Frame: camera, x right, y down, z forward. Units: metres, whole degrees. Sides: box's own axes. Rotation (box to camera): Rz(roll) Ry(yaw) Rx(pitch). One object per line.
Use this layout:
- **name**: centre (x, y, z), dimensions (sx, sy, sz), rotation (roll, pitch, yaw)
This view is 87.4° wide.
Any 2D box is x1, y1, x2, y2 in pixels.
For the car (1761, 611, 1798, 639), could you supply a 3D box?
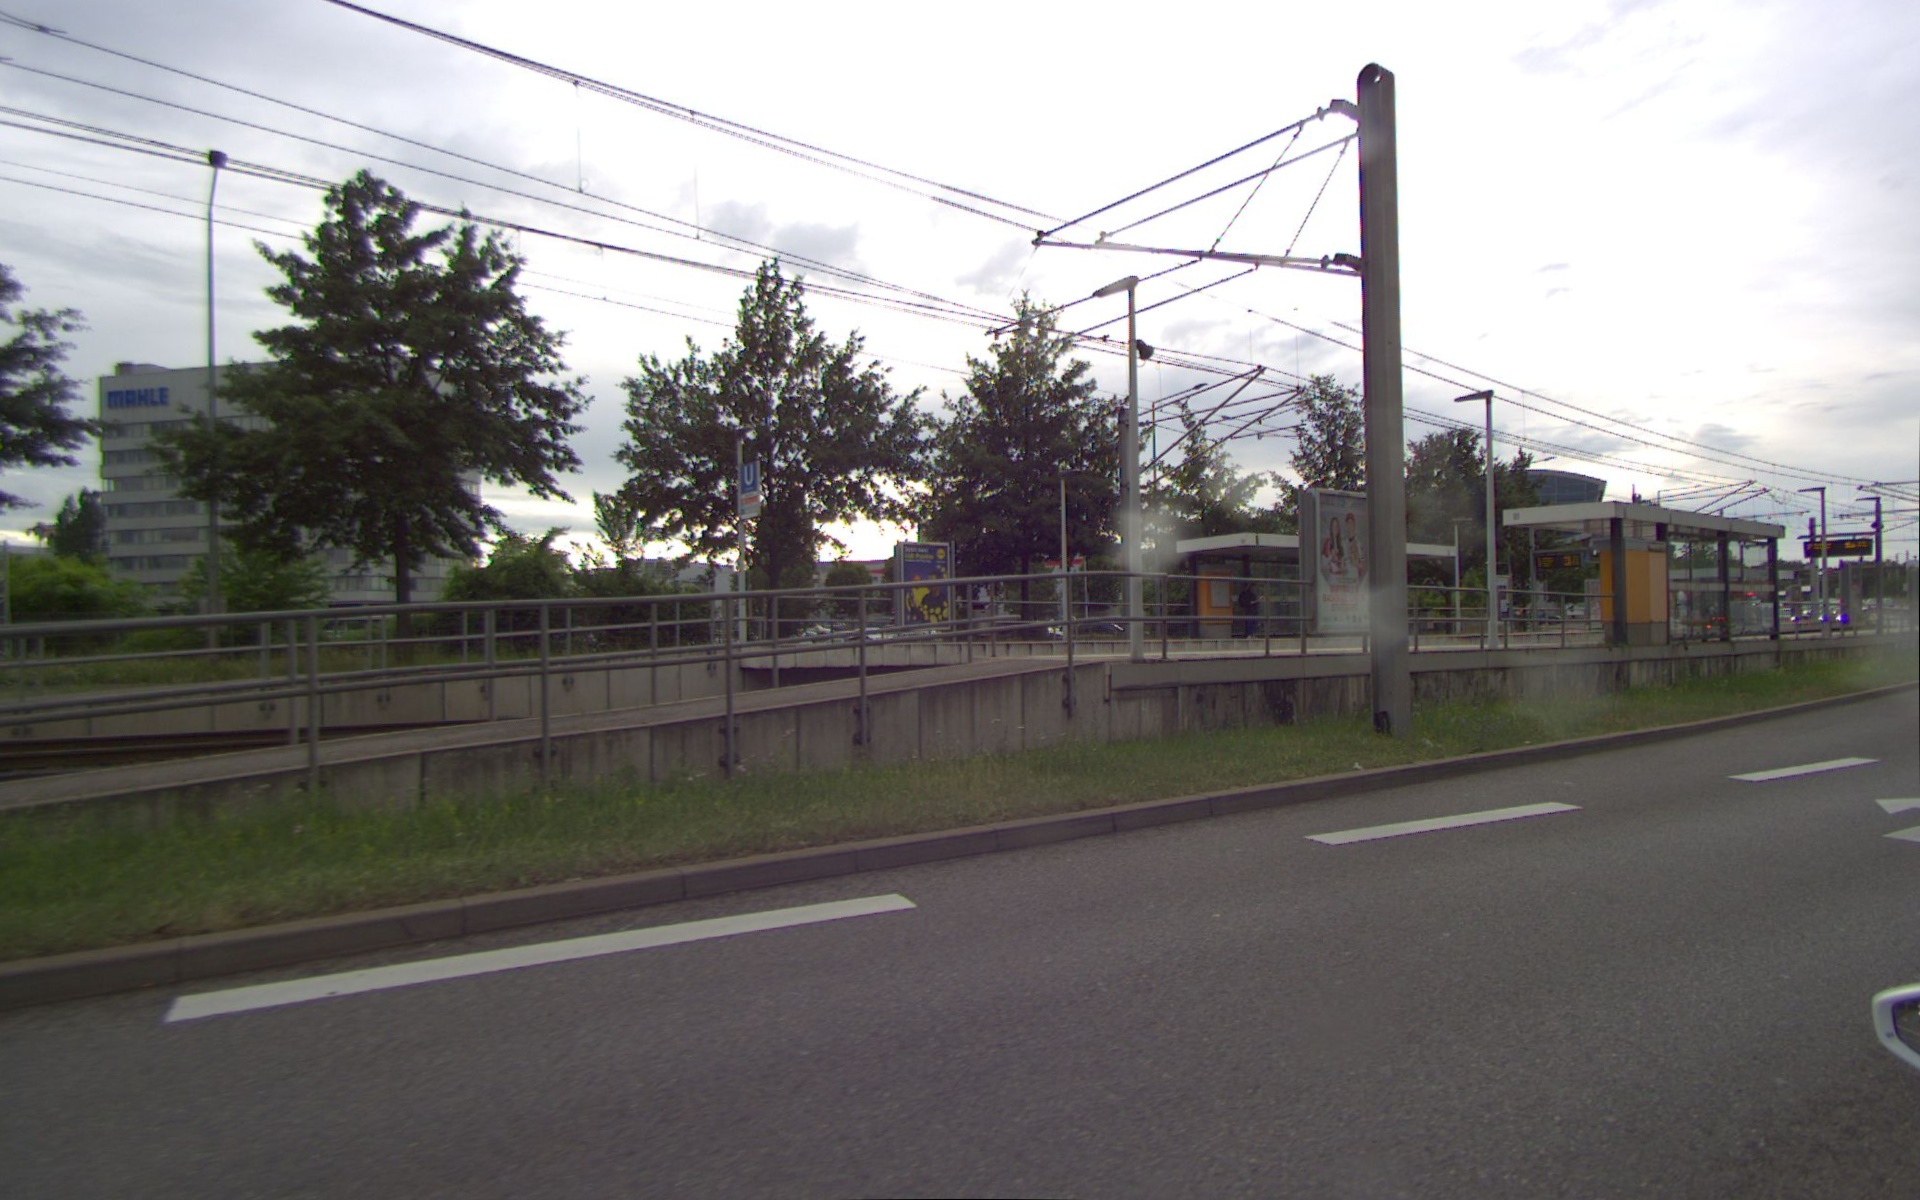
- **car**: centre (69.966, 2.127, 85.717), dimensions (3.974, 2.039, 1.974), rotation (7, -5, -43)

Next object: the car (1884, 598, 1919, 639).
- **car**: centre (39.154, 0.722, 40.603), dimensions (3.809, 1.472, 1.980), rotation (-3, 2, -36)

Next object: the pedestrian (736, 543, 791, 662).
- **pedestrian**: centre (-3.356, 0.055, 17.167), dimensions (0.658, 1.978, 0.544), rotation (4, -2, -40)

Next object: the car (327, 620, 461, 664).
- **car**: centre (-20.342, 1.520, 36.304), dimensions (1.959, 1.433, 4.003), rotation (2, -2, 13)

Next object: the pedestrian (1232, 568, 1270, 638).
- **pedestrian**: centre (7.947, 0.090, 27.442), dimensions (0.744, 1.878, 0.632), rotation (4, -2, -36)

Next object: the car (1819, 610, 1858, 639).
- **car**: centre (71.290, 1.989, 81.486), dimensions (3.974, 2.039, 1.974), rotation (7, -5, -43)

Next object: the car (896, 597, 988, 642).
- **car**: centre (-0.858, 0.905, 47.831), dimensions (3.957, 2.040, 1.982), rotation (-1, 0, -33)

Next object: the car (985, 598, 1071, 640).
- **car**: centre (3.449, 0.955, 50.714), dimensions (3.958, 2.040, 1.982), rotation (1, -1, -33)

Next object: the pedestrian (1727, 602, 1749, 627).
- **pedestrian**: centre (40.263, 0.739, 51.994), dimensions (0.725, 1.269, 0.721), rotation (2, -1, -37)

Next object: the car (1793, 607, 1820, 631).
- **car**: centre (83.678, 1.881, 99.318), dimensions (1.783, 2.039, 3.643), rotation (0, -5, 44)

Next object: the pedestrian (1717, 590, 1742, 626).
- **pedestrian**: centre (37.974, 0.413, 49.567), dimensions (0.823, 1.738, 0.724), rotation (2, -1, -35)

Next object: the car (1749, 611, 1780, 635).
- **car**: centre (77.854, 2.250, 97.199), dimensions (1.973, 2.039, 3.978), rotation (0, -5, 44)

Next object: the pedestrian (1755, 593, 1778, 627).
- **pedestrian**: centre (42.205, 0.521, 52.540), dimensions (0.756, 1.774, 0.747), rotation (4, -2, -35)
